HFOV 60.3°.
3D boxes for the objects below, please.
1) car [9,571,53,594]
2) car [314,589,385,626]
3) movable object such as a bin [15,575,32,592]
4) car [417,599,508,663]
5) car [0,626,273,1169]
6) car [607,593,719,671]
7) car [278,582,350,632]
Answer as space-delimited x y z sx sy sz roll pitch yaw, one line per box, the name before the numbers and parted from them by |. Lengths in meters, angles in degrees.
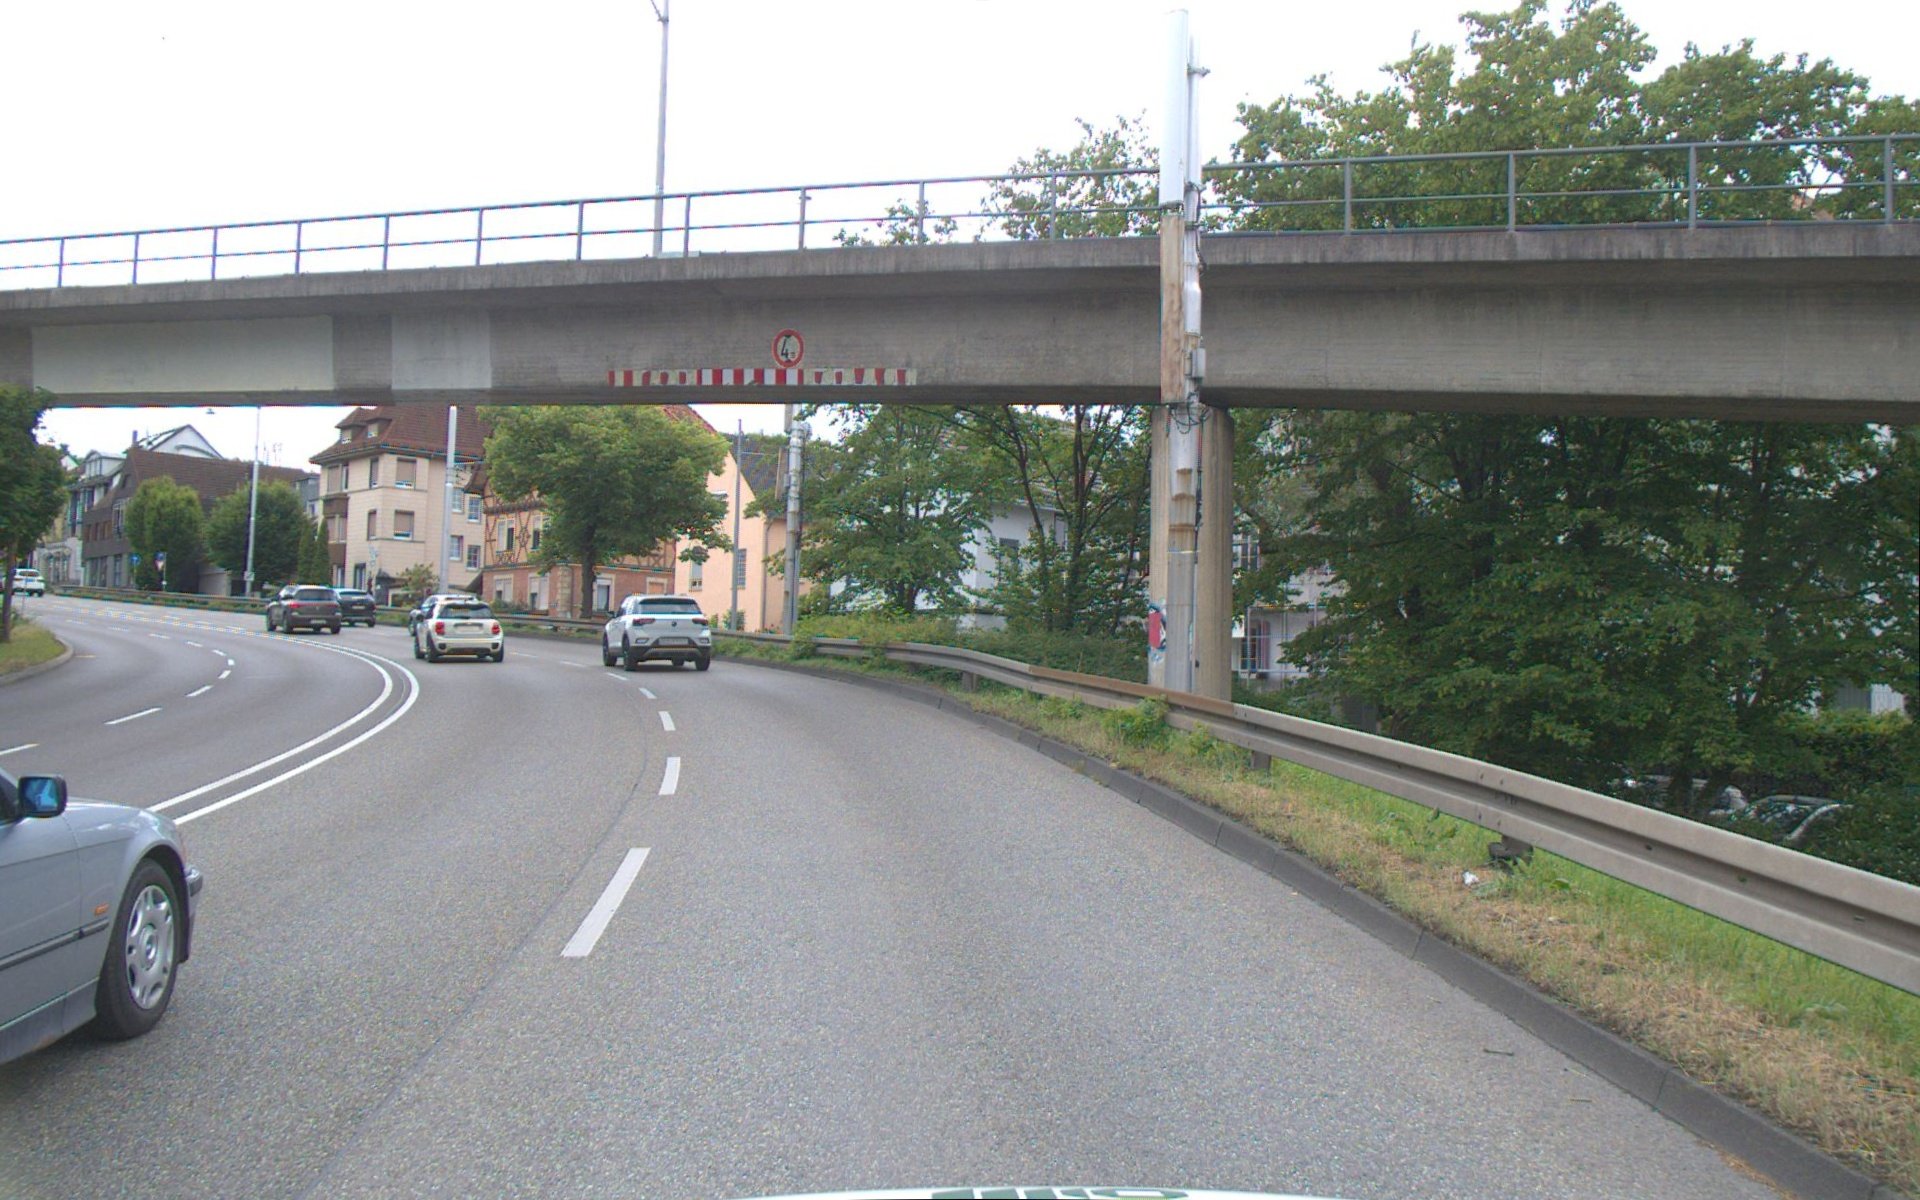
car | -58.020 -1.117 103.314 1.713 1.400 3.404 1 1 -41
car | -24.642 0.303 66.714 1.711 1.400 3.409 1 1 -38
movable object such as a bin | -87.779 -1.532 155.003 1.189 1.433 0.700 6 -2 -42
car | -11.848 0.710 39.267 1.699 1.400 3.432 1 0 -23
car | -3.379 0.845 4.174 1.602 1.407 4.616 -1 1 -4
car | -6.360 0.648 35.190 1.771 1.545 3.436 1 0 -21
car | -22.596 0.228 57.783 1.707 1.668 3.417 1 0 -33
